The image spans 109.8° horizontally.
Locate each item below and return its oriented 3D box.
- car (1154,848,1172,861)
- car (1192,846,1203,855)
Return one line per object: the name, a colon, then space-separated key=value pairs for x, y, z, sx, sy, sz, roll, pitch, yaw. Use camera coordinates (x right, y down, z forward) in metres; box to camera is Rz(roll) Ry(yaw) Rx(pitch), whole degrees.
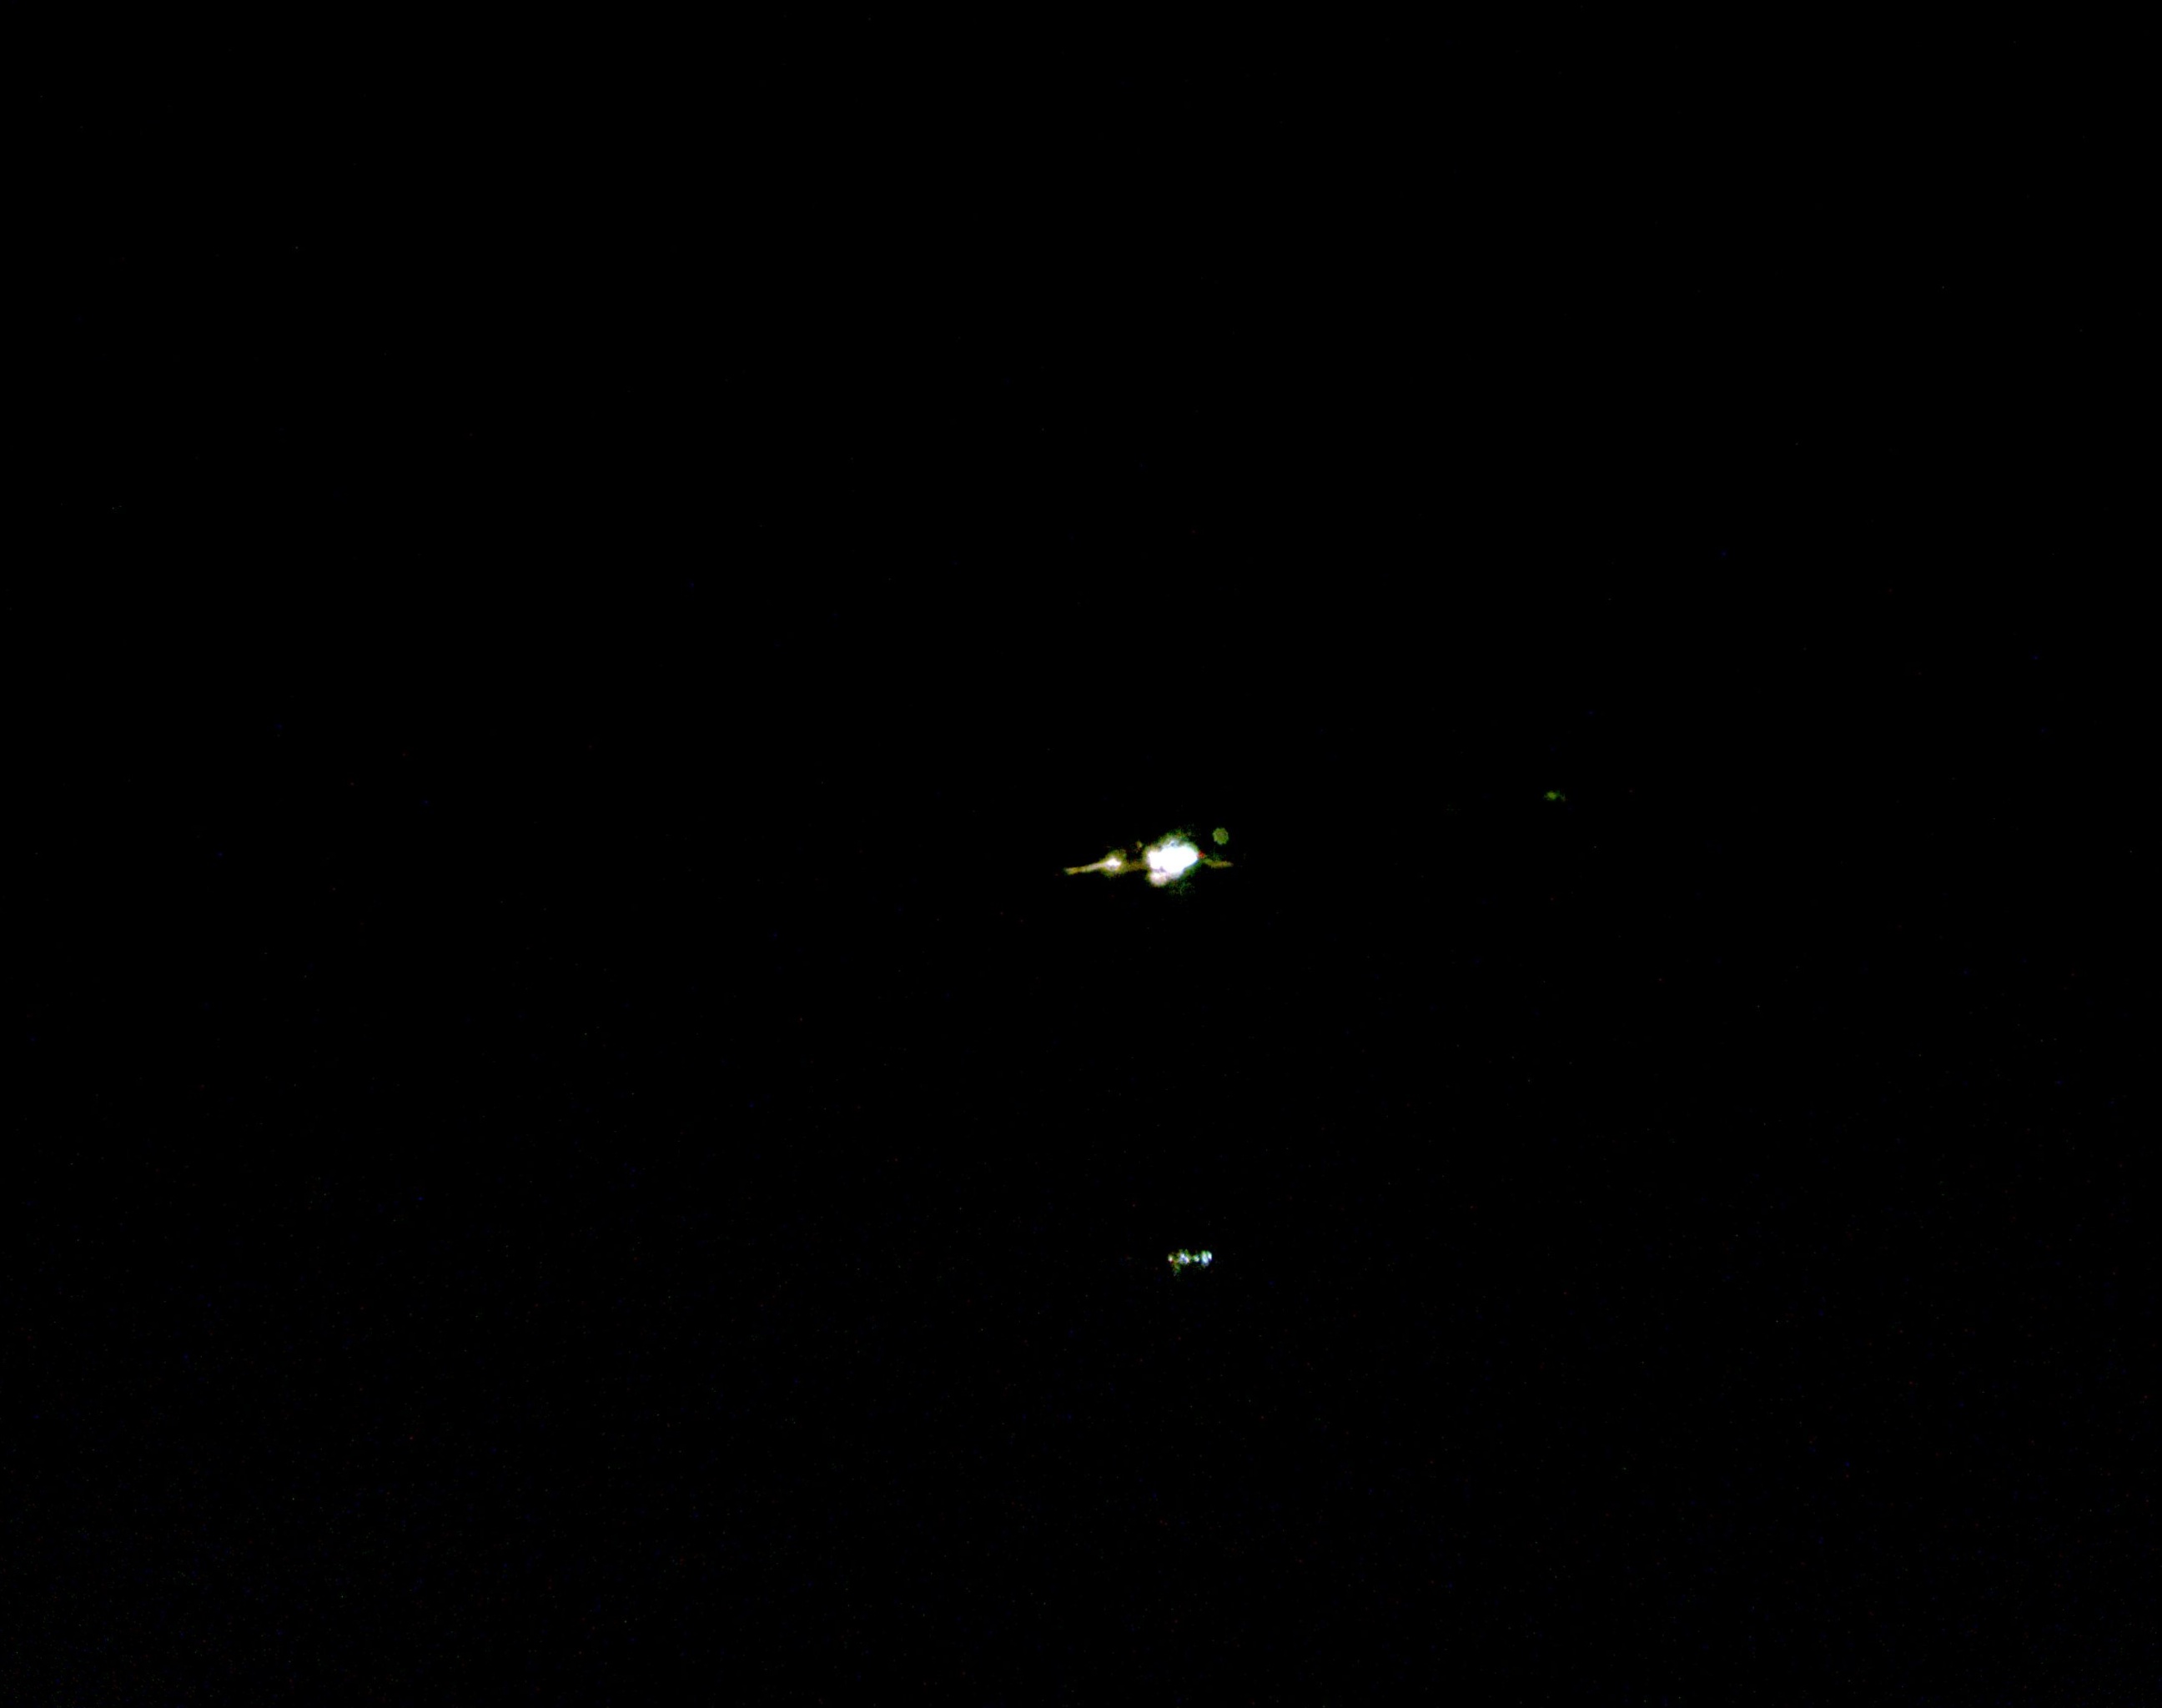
car: x=11.021 y=0.045 z=101.741 sx=1.745 sy=1.623 sz=3.740 roll=-1 pitch=0 yaw=15
car: x=21.872 y=-0.659 z=142.559 sx=1.924 sy=1.636 sz=4.028 roll=-2 pitch=0 yaw=10
